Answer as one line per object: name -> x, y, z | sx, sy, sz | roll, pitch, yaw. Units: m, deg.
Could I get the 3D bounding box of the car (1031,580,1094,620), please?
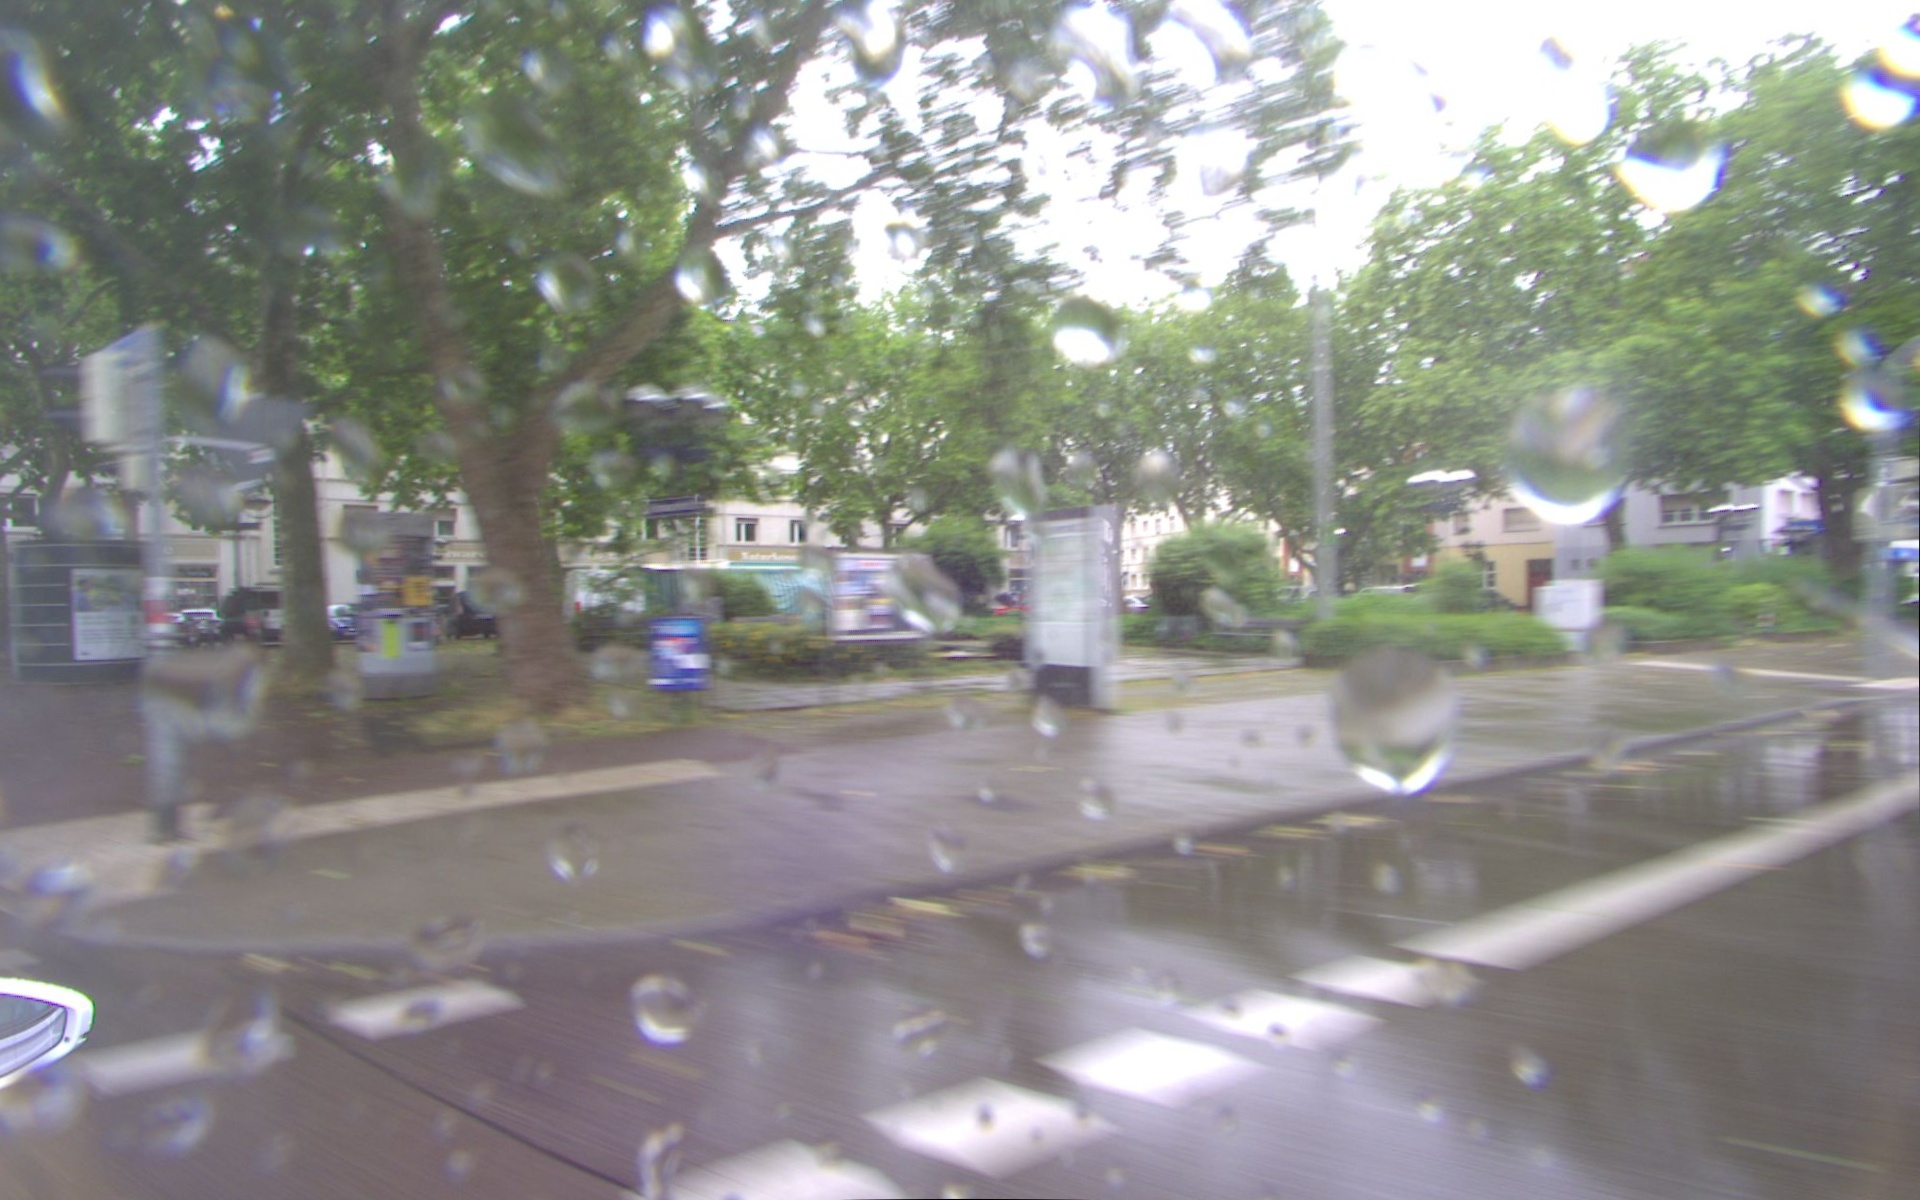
car -> 6.085, 0.026, 59.920 | 1.533, 2.231, 4.076 | -1, -1, -32

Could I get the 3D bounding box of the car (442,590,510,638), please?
car -> -20.510, 0.617, 42.337 | 2.132, 1.861, 3.978 | -1, -1, -32

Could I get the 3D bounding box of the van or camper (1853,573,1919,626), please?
van or camper -> 36.518, -0.051, 38.814 | 4.614, 1.941, 1.984 | -1, 1, -38

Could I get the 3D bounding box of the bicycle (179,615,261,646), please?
bicycle -> -25.569, 1.051, 34.652 | 2.224, 0.981, 0.581 | -1, 1, -35

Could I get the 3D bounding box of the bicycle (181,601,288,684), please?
bicycle -> -13.713, 0.755, 19.025 | 0.738, 1.396, 2.701 | -1, 1, -17

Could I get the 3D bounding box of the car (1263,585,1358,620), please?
car -> 17.207, 0.104, 49.279 | 1.976, 1.639, 3.969 | -1, 1, -38

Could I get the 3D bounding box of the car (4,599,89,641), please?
car -> -38.760, 0.818, 42.592 | 1.975, 1.649, 4.599 | 2, -1, -34

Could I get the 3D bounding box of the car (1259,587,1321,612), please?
car -> 21.098, -0.041, 64.026 | 3.944, 1.471, 1.667 | -1, 1, -32

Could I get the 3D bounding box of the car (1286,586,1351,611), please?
car -> 22.131, -0.093, 61.793 | 3.944, 1.471, 1.667 | -1, 1, -32

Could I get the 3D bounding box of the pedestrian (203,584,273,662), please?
pedestrian -> -13.734, 0.413, 19.074 | 0.733, 1.417, 1.045 | -1, 2, -17

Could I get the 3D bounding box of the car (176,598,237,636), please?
car -> -34.652, 0.769, 46.153 | 1.975, 1.649, 4.599 | 2, -1, -34

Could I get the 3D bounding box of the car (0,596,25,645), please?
car -> -32.750, 0.719, 33.739 | 1.675, 1.571, 3.492 | -1, -1, -42

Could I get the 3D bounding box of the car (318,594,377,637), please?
car -> -24.245, 0.593, 39.613 | 1.664, 1.596, 3.709 | -1, 0, -36

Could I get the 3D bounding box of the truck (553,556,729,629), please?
truck -> -12.755, -0.308, 40.297 | 6.320, 2.735, 2.251 | -1, 1, -36

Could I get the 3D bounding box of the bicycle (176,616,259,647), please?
bicycle -> -25.207, 1.061, 34.035 | 2.229, 0.981, 0.531 | -1, 1, -35

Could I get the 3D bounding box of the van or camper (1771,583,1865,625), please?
van or camper -> 34.928, 0.114, 40.742 | 4.614, 1.620, 1.984 | -1, 1, -38

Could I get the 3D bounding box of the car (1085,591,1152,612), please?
car -> 9.884, 0.082, 62.798 | 1.974, 1.224, 3.972 | -1, 1, -35

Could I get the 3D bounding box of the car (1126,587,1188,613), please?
car -> 12.723, 0.024, 64.787 | 1.692, 1.639, 3.978 | 0, -1, -31

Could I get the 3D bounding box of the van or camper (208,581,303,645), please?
van or camper -> -26.873, 0.445, 38.385 | 2.369, 2.261, 5.402 | -1, 1, -29

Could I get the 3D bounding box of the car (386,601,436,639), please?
car -> -22.921, 0.851, 41.777 | 1.661, 1.450, 3.717 | -1, -2, -31

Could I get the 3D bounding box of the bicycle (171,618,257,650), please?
bicycle -> -24.843, 1.118, 33.409 | 2.259, 0.996, 0.542 | -1, 1, -35

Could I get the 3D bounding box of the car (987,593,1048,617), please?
car -> 4.113, 0.365, 71.870 | 1.975, 1.649, 4.599 | 2, -1, -34

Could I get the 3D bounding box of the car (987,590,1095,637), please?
car -> 2.787, 0.464, 35.141 | 1.650, 1.542, 3.645 | -2, 1, -42
